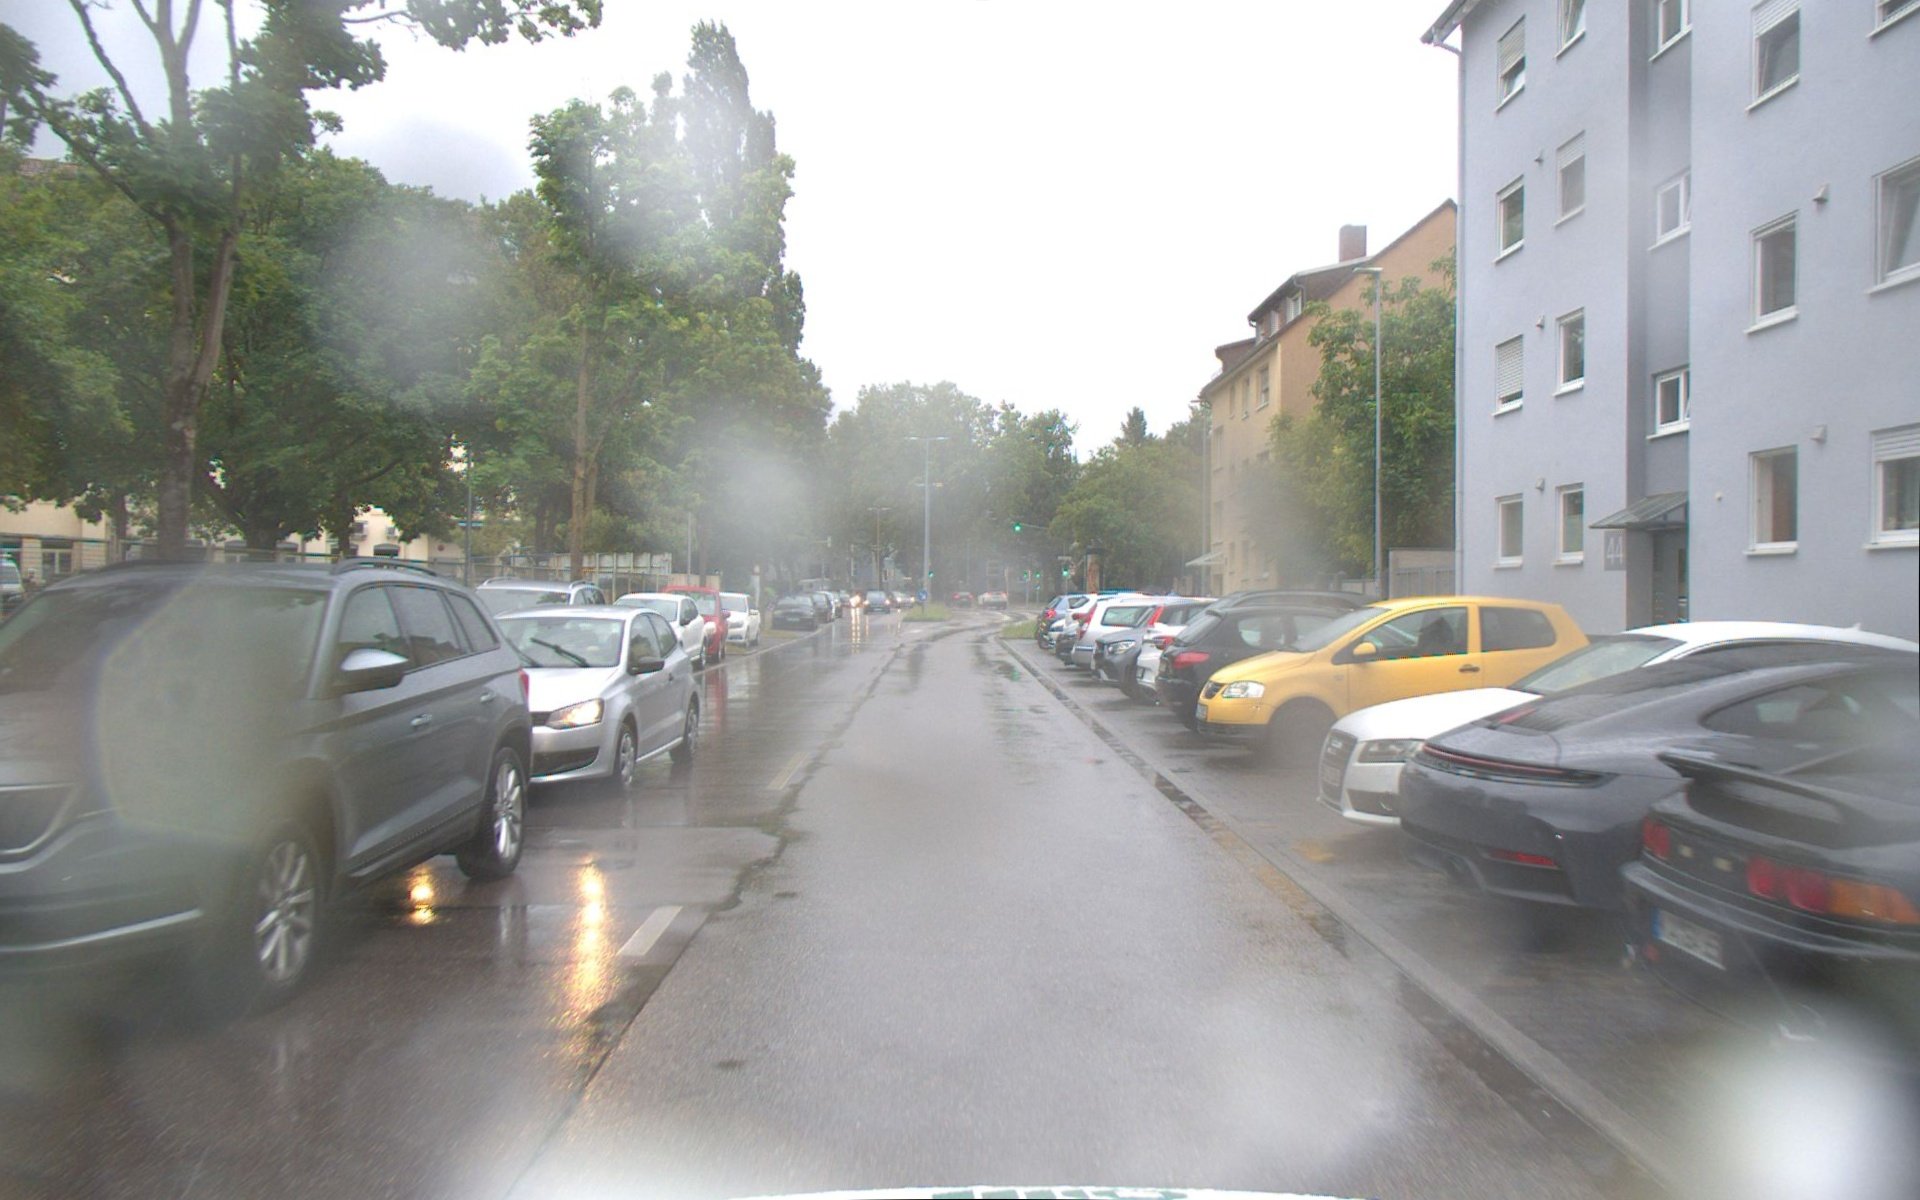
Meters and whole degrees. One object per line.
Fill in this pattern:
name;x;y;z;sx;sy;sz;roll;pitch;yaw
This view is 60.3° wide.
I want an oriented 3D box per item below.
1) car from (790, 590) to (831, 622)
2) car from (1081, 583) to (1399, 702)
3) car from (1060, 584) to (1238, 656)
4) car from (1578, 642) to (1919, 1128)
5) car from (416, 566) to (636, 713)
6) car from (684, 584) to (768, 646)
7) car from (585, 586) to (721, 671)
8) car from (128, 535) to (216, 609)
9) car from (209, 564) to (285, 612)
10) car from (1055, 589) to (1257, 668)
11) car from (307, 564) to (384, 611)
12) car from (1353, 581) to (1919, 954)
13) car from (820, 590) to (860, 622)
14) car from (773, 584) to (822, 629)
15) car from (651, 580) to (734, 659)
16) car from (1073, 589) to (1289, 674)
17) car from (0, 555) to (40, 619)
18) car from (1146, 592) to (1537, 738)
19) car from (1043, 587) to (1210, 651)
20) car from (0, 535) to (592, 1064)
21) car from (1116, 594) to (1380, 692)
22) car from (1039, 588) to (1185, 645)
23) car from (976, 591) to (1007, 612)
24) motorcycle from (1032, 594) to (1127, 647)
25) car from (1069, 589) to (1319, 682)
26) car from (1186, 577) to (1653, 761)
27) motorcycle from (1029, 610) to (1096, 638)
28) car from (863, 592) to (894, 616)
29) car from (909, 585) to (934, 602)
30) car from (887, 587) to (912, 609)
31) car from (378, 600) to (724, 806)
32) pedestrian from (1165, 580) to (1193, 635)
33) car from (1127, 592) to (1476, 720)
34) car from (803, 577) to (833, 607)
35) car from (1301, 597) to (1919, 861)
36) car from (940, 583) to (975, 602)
car;-7.198;0.263;79.870;1.891;1.510;3.997;0;0;-4
car;3.993;0.593;24.128;4.253;1.579;2.039;1;0;-2
car;4.410;0.465;38.980;3.907;1.579;1.904;1;0;-3
car;4.244;0.796;5.346;3.774;1.229;1.956;1;0;1
car;-5.739;0.455;22.468;1.740;1.709;4.600;3;1;-1
car;-6.310;0.388;45.058;1.733;1.555;4.596;1;0;-2
car;-5.742;0.505;31.381;1.626;1.486;4.174;1;0;2
car;-24.438;-0.854;51.254;1.975;2.159;3.955;1;0;-32
car;-22.606;-0.376;52.390;1.688;1.459;3.610;1;0;-32
car;3.959;0.567;33.864;3.906;1.491;1.781;1;0;-1
car;-20.180;-0.406;54.240;1.688;1.459;3.610;1;0;-32
car;4.154;0.716;7.885;4.059;1.512;2.012;1;0;-1
car;-6.979;0.357;96.465;1.887;1.761;4.000;1;0;1
car;-6.422;0.233;65.082;1.742;1.556;3.994;1;2;-8
car;-5.885;0.408;36.748;1.594;1.626;4.196;1;0;-6
car;4.157;0.581;31.594;3.904;1.499;1.803;1;0;2
car;-28.648;-0.396;49.194;1.912;1.817;3.953;1;0;-34
car;4.144;0.689;18.386;3.906;1.467;1.781;1;0;-2
car;4.145;0.465;41.527;3.908;1.516;1.861;1;0;-4
car;-3.221;0.626;7.677;1.875;1.668;4.822;1;0;1
car;4.572;0.674;26.683;3.906;1.436;1.845;1;1;-1
car;4.212;0.464;46.312;3.905;1.487;1.934;1;0;0
car;2.334;0.091;123.783;1.814;1.551;3.994;0;0;-7
motorcycle;3.139;0.537;43.416;2.352;1.347;0.918;1;0;-6
car;4.047;0.588;29.091;4.179;1.479;1.985;1;1;4
car;4.270;0.625;15.779;3.907;1.579;1.852;1;0;-3
motorcycle;3.168;0.734;50.917;2.029;0.806;0.711;1;1;5
car;-5.317;0.238;107.057;1.954;1.512;3.997;1;0;-4
car;-3.608;-0.640;153.710;1.816;1.551;3.991;0;0;-10
car;-4.947;-0.144;135.462;1.707;1.718;3.994;1;0;-7
car;-3.175;0.723;13.719;1.637;1.407;4.253;0;0;3
pedestrian;8.266;0.290;62.289;0.989;2.049;0.953;1;0;8
car;4.228;0.672;20.994;4.013;1.483;2.000;1;0;0
car;-16.366;-0.923;190.591;2.188;3.294;4.639;1;0;-22
car;4.639;0.755;10.514;4.532;1.461;2.000;1;0;1
car;-0.217;-0.592;138.081;1.820;1.551;4.134;0;0;-17
